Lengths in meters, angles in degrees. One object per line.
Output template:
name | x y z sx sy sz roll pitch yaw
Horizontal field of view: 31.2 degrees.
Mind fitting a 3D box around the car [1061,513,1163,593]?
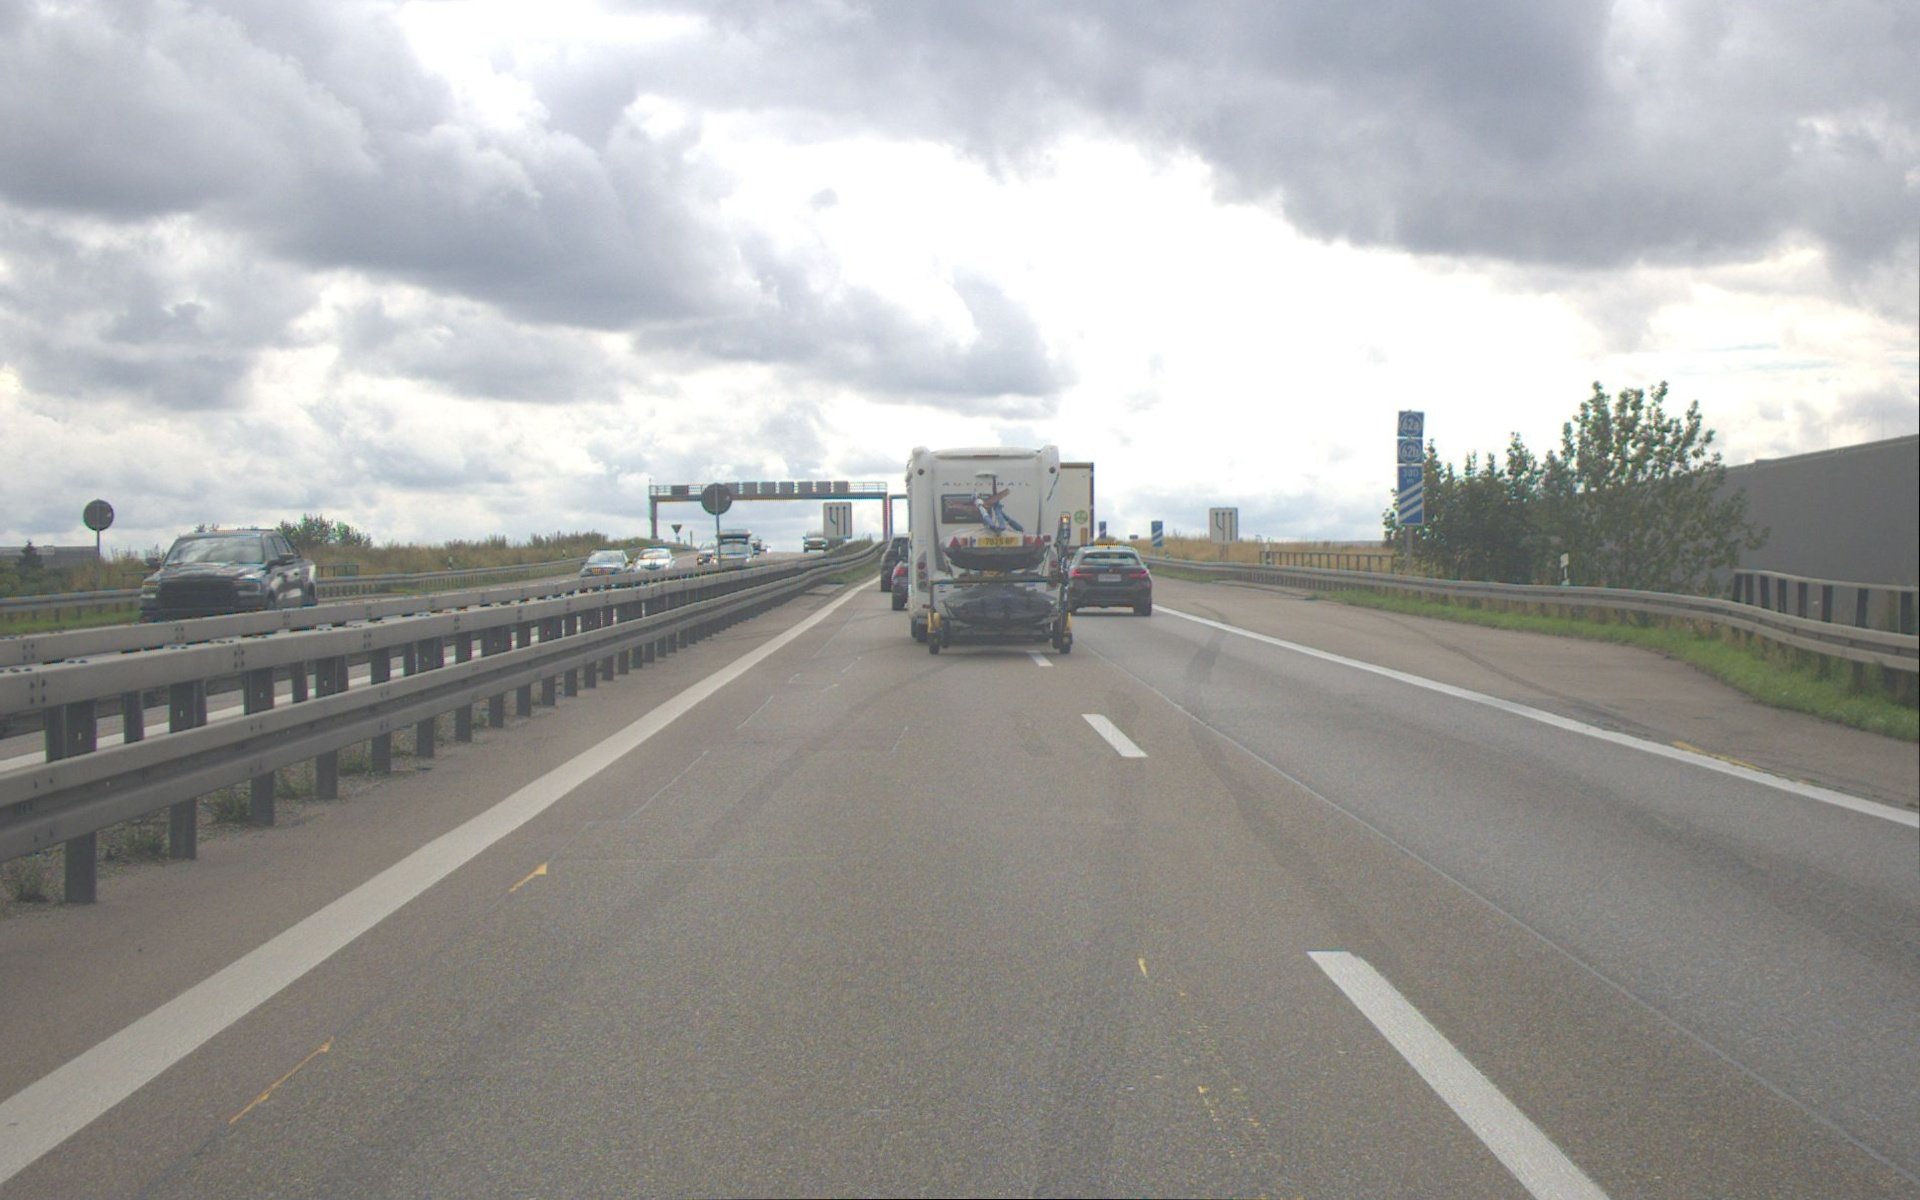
car | 3.183 -0.970 72.690 1.882 1.615 4.000 -1 0 -1

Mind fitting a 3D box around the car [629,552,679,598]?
car | -13.820 -1.130 155.381 1.993 2.007 4.384 -1 0 -2

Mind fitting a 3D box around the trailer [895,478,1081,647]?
trailer | 0.429 -0.480 46.070 2.338 2.129 4.000 -1 0 2

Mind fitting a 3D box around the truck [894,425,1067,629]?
truck | 0.314 -1.069 53.214 2.482 2.940 5.815 -1 0 0

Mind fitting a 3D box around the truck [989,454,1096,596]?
truck | 2.672 -2.416 113.881 3.246 4.510 7.066 -1 0 0

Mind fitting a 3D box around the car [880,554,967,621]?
car | -0.804 -0.274 77.922 1.746 1.448 4.000 -1 0 2

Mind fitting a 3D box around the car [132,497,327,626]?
car | -12.127 -0.680 57.471 1.993 2.007 6.102 -1 1 -1

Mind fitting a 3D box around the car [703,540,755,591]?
car | -9.384 -1.406 139.909 1.993 2.007 4.384 0 1 -2

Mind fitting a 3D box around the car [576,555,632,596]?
car | -13.525 -0.949 130.760 1.756 1.463 4.561 0 1 -1
